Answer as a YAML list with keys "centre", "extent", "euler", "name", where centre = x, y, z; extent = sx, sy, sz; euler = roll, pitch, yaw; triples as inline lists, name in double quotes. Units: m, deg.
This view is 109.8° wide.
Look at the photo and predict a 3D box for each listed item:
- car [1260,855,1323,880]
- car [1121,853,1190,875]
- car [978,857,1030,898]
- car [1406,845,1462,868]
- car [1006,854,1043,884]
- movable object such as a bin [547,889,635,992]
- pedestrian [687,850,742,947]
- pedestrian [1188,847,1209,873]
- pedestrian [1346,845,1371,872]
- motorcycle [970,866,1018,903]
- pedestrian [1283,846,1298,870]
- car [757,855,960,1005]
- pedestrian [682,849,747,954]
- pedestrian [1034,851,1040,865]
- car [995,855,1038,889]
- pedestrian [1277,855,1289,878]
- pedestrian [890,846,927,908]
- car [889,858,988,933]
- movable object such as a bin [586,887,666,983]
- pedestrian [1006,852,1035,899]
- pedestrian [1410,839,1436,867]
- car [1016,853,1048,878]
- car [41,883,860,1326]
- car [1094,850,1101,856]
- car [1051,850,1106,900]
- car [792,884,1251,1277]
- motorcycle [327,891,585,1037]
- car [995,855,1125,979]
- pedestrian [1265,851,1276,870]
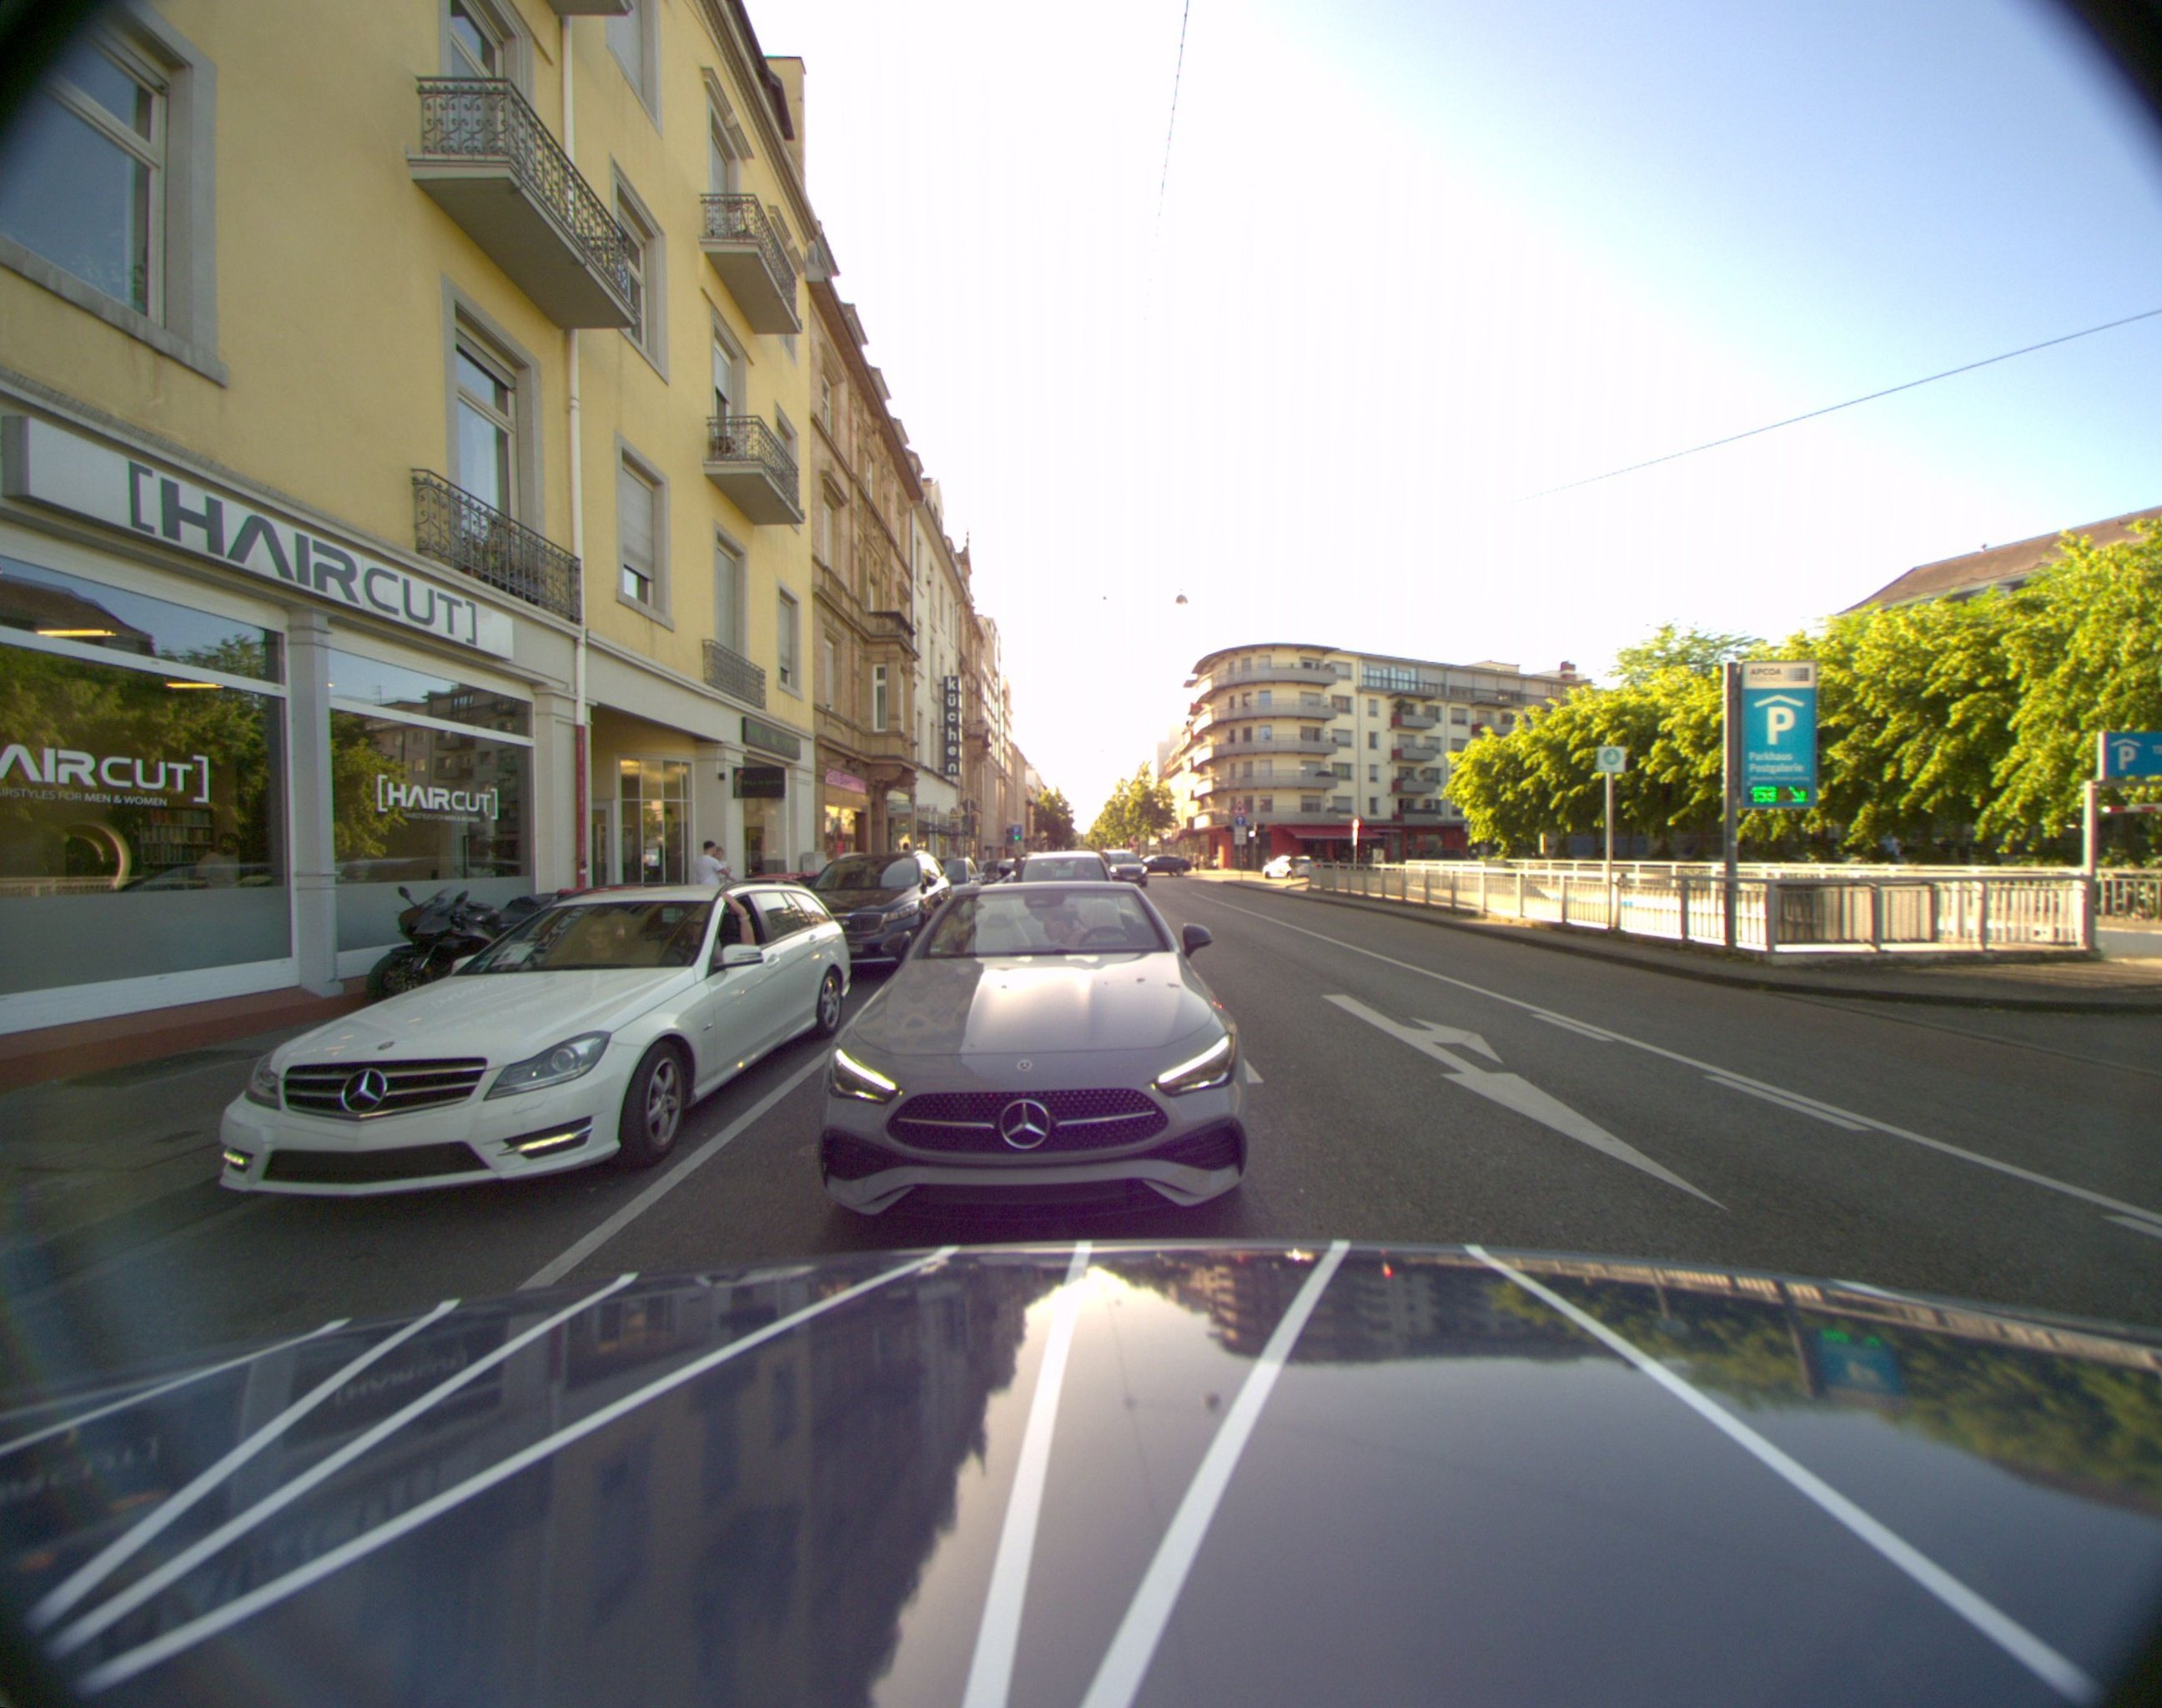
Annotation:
- centre: [12.762, 0.773, 46.377]
  extent: [1.804, 1.426, 4.245]
  euler: [-2, 0, -14]
  name: "car"
- centre: [5.088, 0.661, 51.945]
  extent: [4.290, 1.375, 1.998]
  euler: [-2, 0, -11]
  name: "car"
- centre: [-3.045, 0.911, 30.744]
  extent: [1.715, 1.477, 3.999]
  euler: [-1, 0, 0]
  name: "car"
- centre: [29.023, 0.199, 62.472]
  extent: [4.004, 1.740, 1.996]
  euler: [-2, 1, -23]
  name: "car"
- centre: [-2.990, 0.772, 41.015]
  extent: [1.715, 1.477, 3.999]
  euler: [-1, 0, 0]
  name: "car"
- centre: [-6.113, 1.067, 9.504]
  extent: [0.647, 1.200, 0.644]
  euler: [-1, 1, 1]
  name: "movable object such as a bin"
- centre: [-6.262, 0.745, 13.011]
  extent: [0.572, 1.607, 0.643]
  euler: [-1, 1, 2]
  name: "pedestrian"
- centre: [9.198, 0.485, 59.381]
  extent: [1.202, 2.002, 1.018]
  euler: [-3, 1, -37]
  name: "pedestrian"
- centre: [21.652, 0.359, 59.335]
  extent: [1.234, 2.002, 1.259]
  euler: [-2, 1, -21]
  name: "pedestrian"
- centre: [-3.064, 1.055, 26.804]
  extent: [0.769, 1.225, 1.546]
  euler: [-1, 1, 42]
  name: "motorcycle"
- centre: [15.778, 0.278, 57.298]
  extent: [0.756, 1.795, 0.755]
  euler: [-2, 1, -41]
  name: "pedestrian"
- centre: [-2.998, 0.898, 11.337]
  extent: [1.858, 1.688, 4.697]
  euler: [-1, 0, -4]
  name: "car"
- centre: [-5.814, 0.732, 12.076]
  extent: [0.642, 1.607, 0.701]
  euler: [-1, 1, -1]
  name: "pedestrian"
- centre: [-5.869, 0.478, 101.729]
  extent: [0.528, 1.875, 0.568]
  euler: [-2, 1, -22]
  name: "pedestrian"
- centre: [-3.058, 0.822, 36.497]
  extent: [1.715, 1.477, 3.999]
  euler: [-1, 0, 0]
  name: "car"
- centre: [15.153, 0.906, 56.961]
  extent: [0.674, 1.696, 0.699]
  euler: [-2, 1, -7]
  name: "pedestrian"
- centre: [-4.626, 0.600, 20.384]
  extent: [0.795, 1.607, 0.763]
  euler: [-1, 1, -1]
  name: "pedestrian"
- centre: [-3.269, 0.897, 17.956]
  extent: [1.696, 1.559, 3.018]
  euler: [-1, 0, 1]
  name: "car"
- centre: [-6.063, 1.058, 10.155]
  extent: [0.647, 1.200, 0.644]
  euler: [-1, 1, 1]
  name: "movable object such as a bin"
- centre: [-2.190, 0.771, 27.453]
  extent: [0.694, 1.657, 0.833]
  euler: [-2, 1, -29]
  name: "pedestrian"
- centre: [24.671, -0.084, 54.768]
  extent: [1.318, 2.002, 1.296]
  euler: [-1, 1, 4]
  name: "pedestrian"
- centre: [-3.033, 0.701, 47.609]
  extent: [1.715, 1.477, 4.062]
  euler: [-1, 0, 0]
  name: "car"
- centre: [-3.073, 1.049, 5.207]
  extent: [1.759, 1.453, 4.597]
  euler: [-1, 0, 0]
  name: "car"
- centre: [4.614, -0.274, 213.546]
  extent: [1.998, 1.805, 4.000]
  euler: [-1, 0, 1]
  name: "car"
- centre: [-0.064, 0.748, 29.458]
  extent: [1.952, 1.742, 4.000]
  euler: [-1, 0, 1]
  name: "car"
- centre: [-0.262, 1.021, 5.269]
  extent: [1.849, 1.371, 4.255]
  euler: [-2, 0, -1]
  name: "car"
- centre: [-6.266, 1.027, 7.842]
  extent: [0.773, 1.158, 2.247]
  euler: [1, 0, 1]
  name: "motorcycle"
- centre: [-0.255, 0.857, 12.194]
  extent: [1.716, 1.599, 4.000]
  euler: [-1, 0, 1]
  name: "car"
- centre: [15.042, 0.520, 60.290]
  extent: [0.791, 1.452, 0.583]
  euler: [-1, 1, 10]
  name: "pedestrian"
